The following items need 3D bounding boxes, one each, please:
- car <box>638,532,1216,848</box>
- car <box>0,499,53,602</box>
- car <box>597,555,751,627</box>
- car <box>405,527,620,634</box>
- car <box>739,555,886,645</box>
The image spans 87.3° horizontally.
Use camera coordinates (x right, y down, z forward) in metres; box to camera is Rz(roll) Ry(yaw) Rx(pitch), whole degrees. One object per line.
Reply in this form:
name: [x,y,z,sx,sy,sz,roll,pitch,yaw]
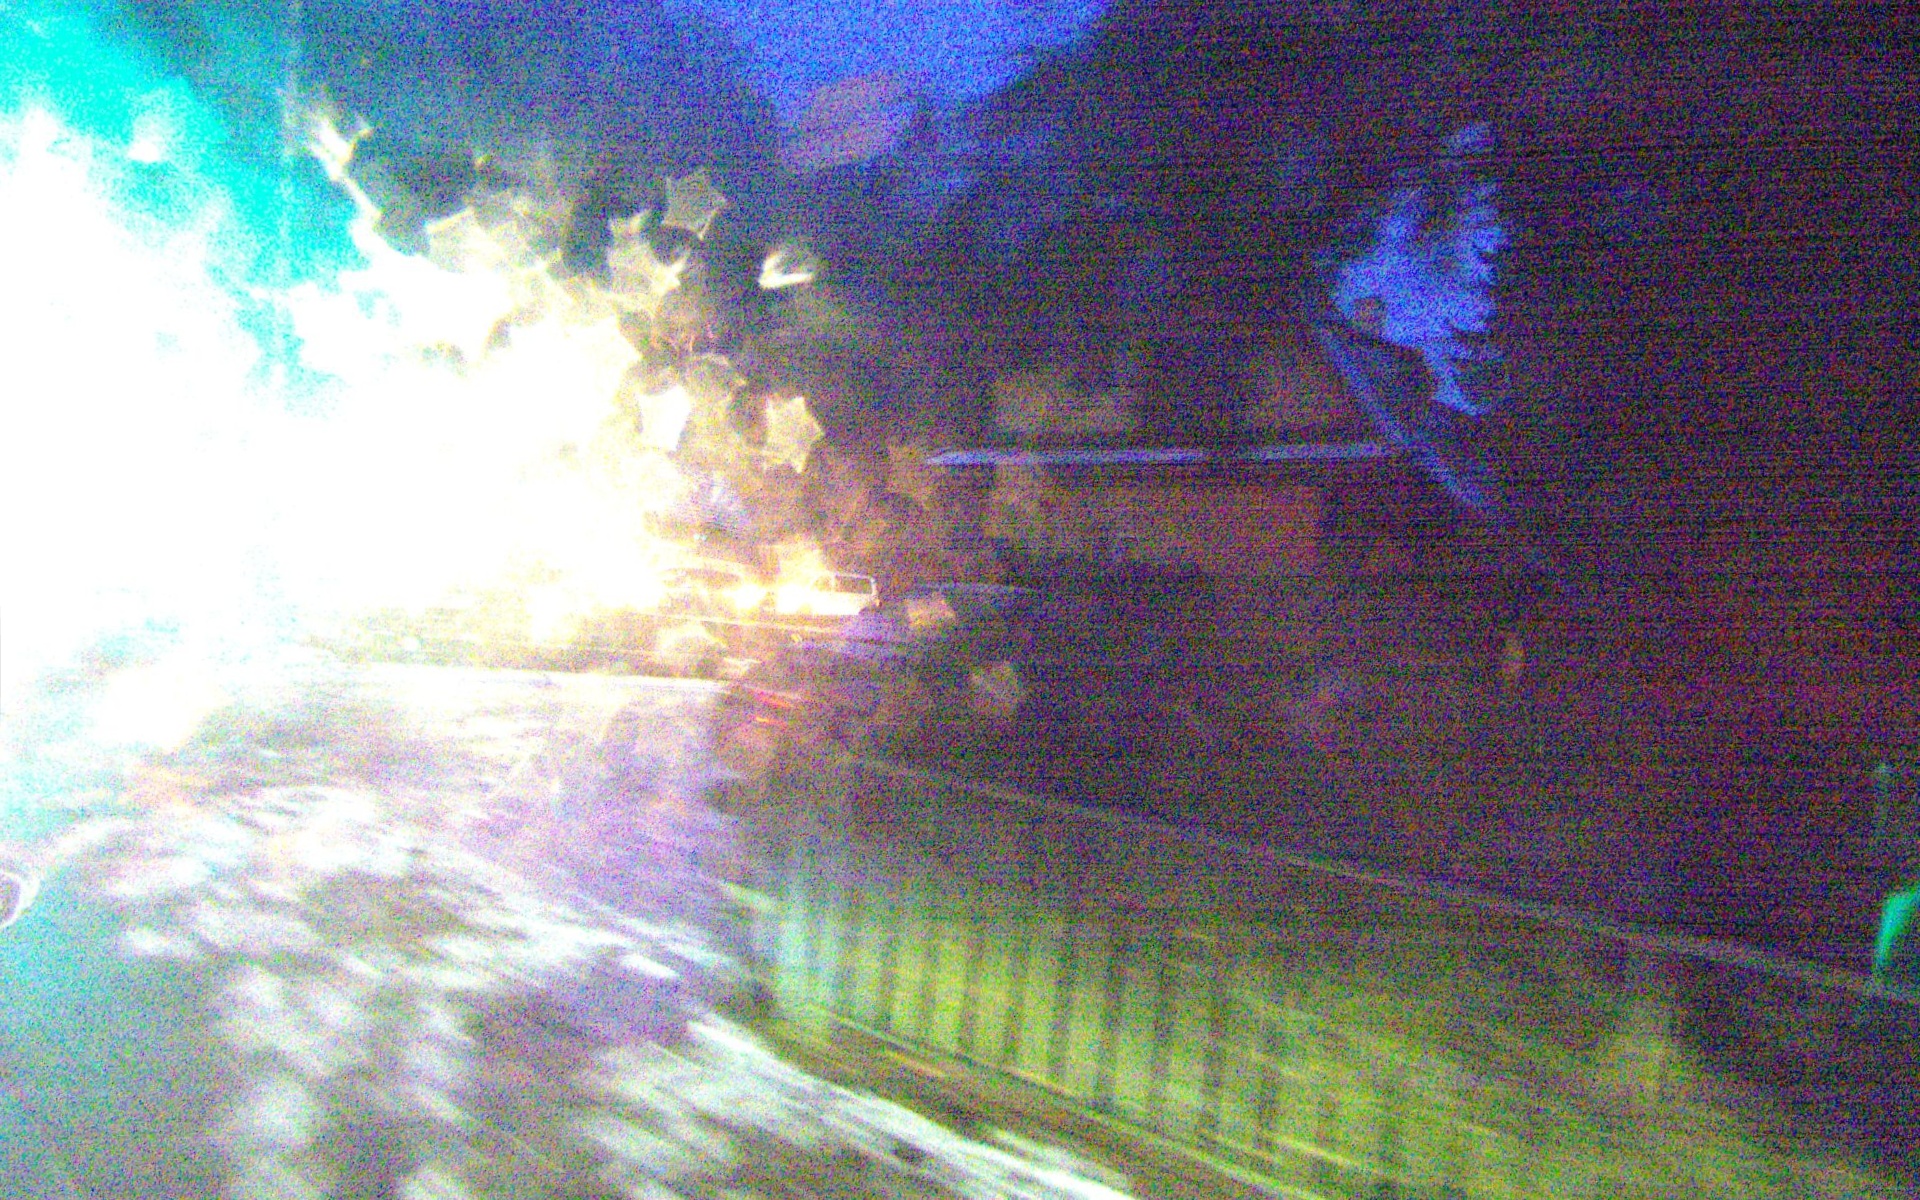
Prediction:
car: [0.069,0.604,7.777,1.910,1.606,4.463,8,1,38]
car: [-14.817,-0.847,13.701,1.887,1.528,4.227,8,-2,-17]
car: [-8.887,-0.252,31.562,1.951,1.533,4.196,6,-4,38]
car: [-10.642,-0.402,24.201,1.750,1.971,4.240,7,-1,38]
car: [-5.233,0.053,36.322,2.143,2.468,4.848,6,-4,38]
